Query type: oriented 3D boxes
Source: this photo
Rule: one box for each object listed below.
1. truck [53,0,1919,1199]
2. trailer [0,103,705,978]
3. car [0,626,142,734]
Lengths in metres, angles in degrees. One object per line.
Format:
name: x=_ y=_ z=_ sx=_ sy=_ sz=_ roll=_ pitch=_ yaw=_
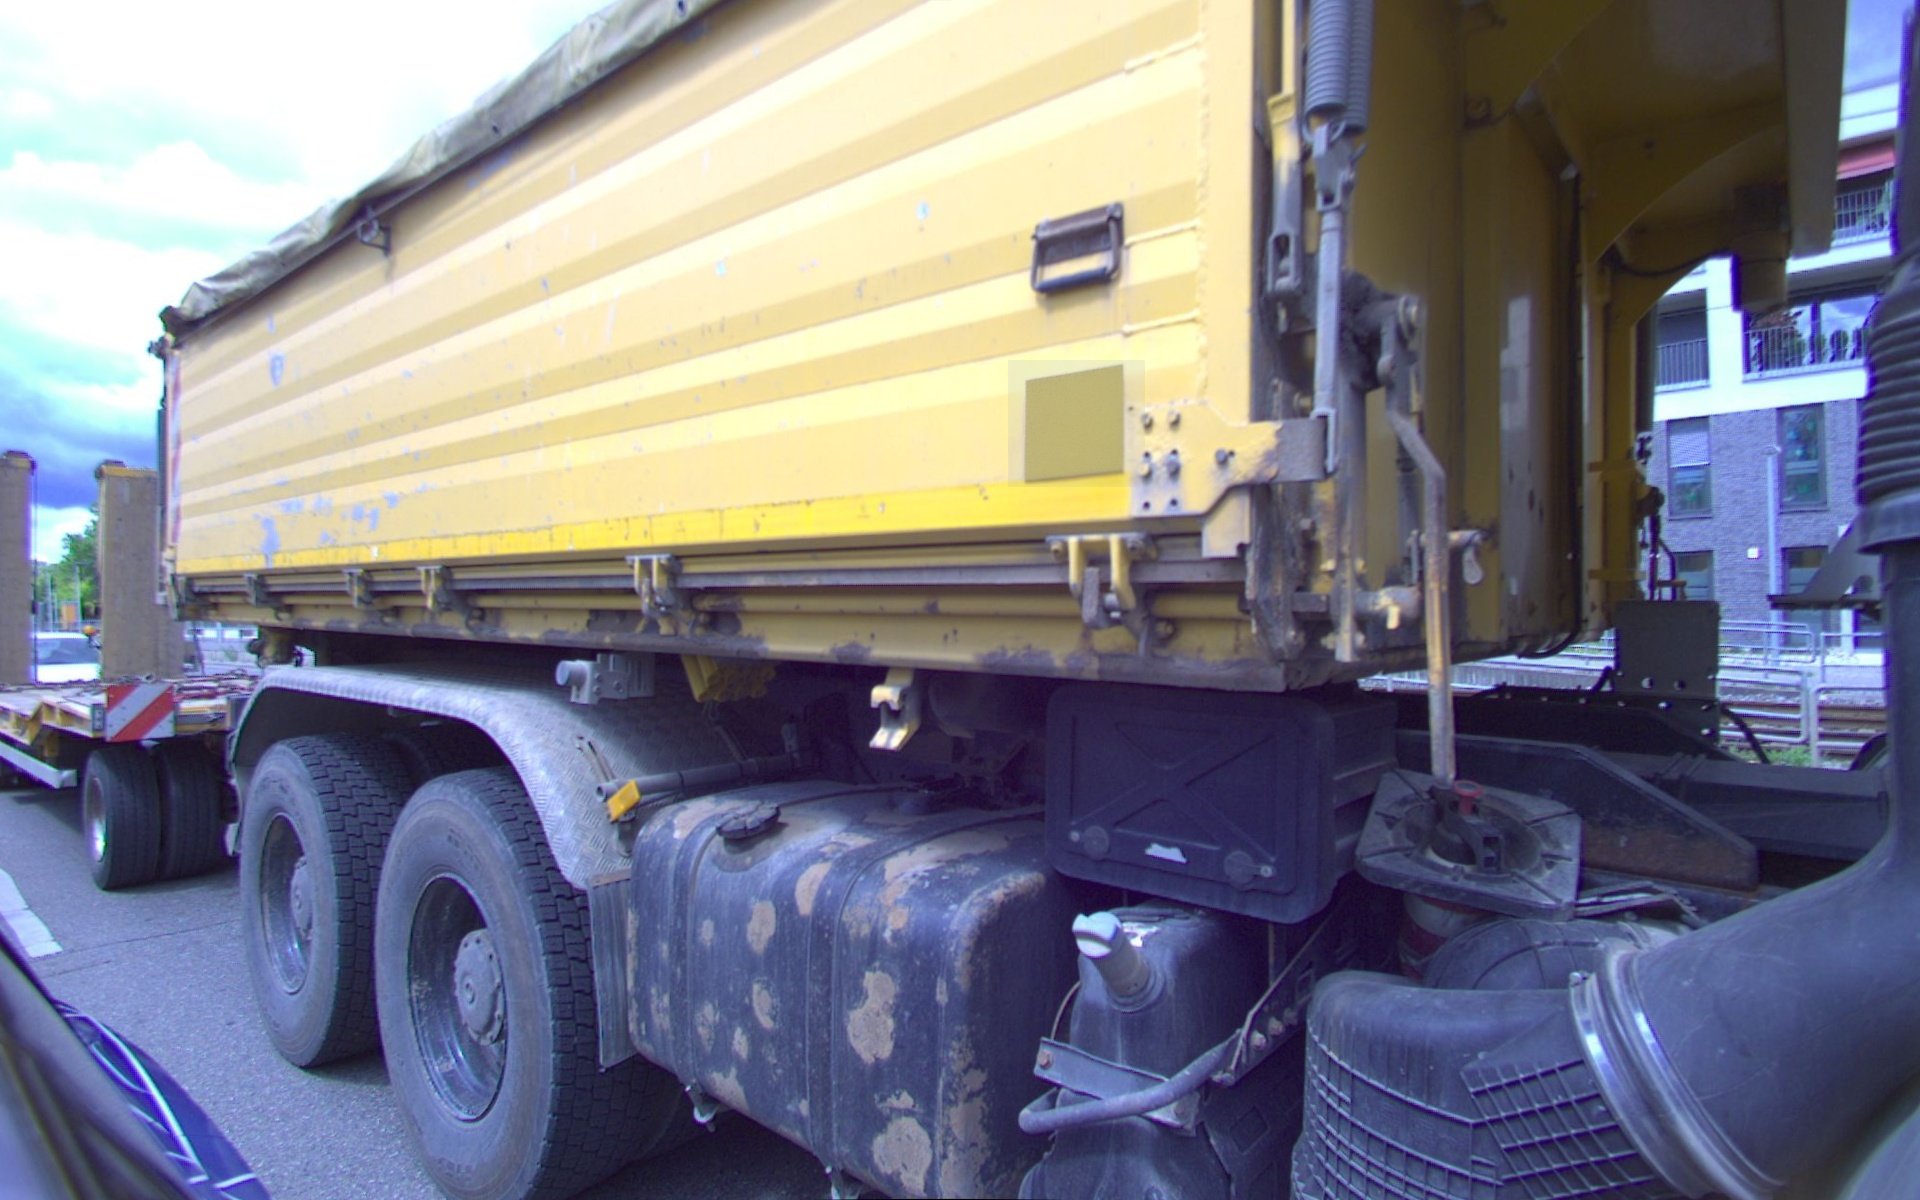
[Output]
truck: x=0.164 y=-0.218 z=2.895 sx=8.000 sy=3.420 sz=3.019 roll=-2 pitch=-1 yaw=40
trailer: x=-6.834 y=-0.133 z=9.018 sx=10.957 sy=3.726 sz=3.018 roll=-2 pitch=-1 yaw=40
car: x=-13.959 y=1.139 z=15.388 sx=3.784 sy=1.427 sz=1.761 roll=-2 pitch=-1 yaw=41
